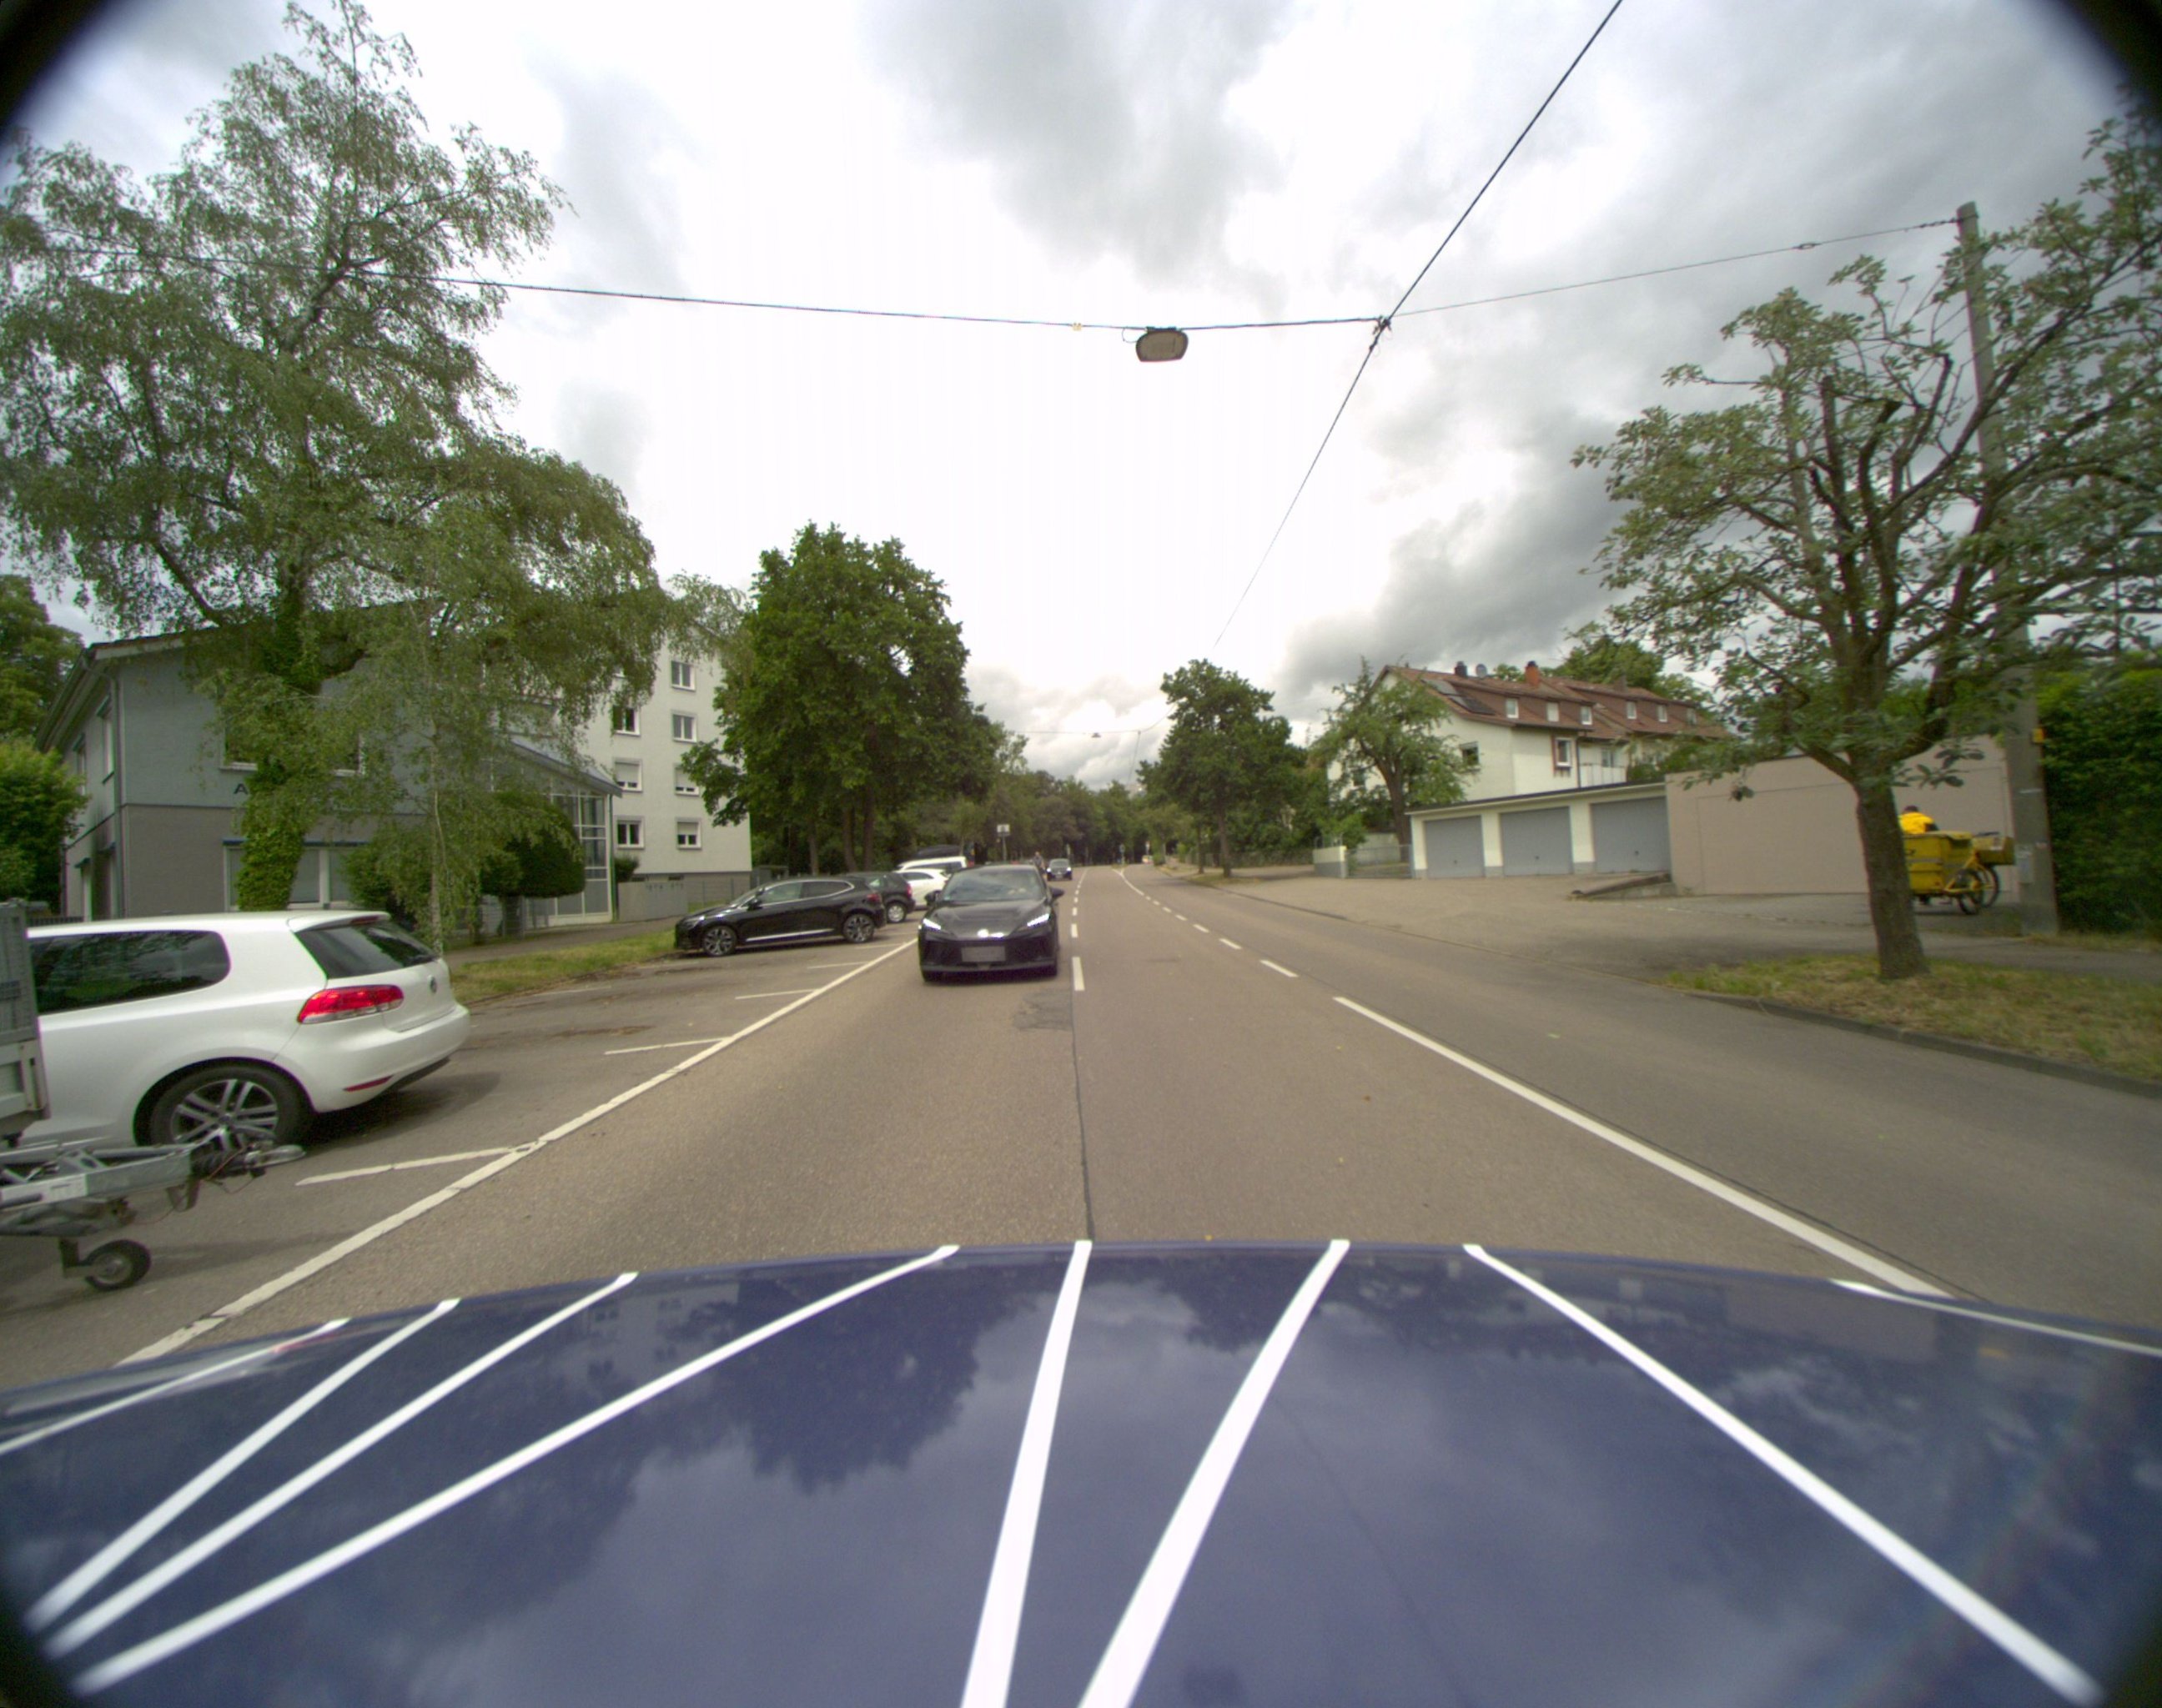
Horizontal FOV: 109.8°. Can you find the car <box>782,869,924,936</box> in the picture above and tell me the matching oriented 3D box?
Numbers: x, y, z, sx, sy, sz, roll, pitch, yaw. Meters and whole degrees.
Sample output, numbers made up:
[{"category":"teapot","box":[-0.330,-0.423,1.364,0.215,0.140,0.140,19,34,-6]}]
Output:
[{"category":"car","box":[-6.234,1.275,20.815,3.516,1.455,1.713,-4,1,-20]}]

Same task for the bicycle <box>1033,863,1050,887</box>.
[{"category":"bicycle","box":[-2.093,1.108,40.285,0.648,1.230,1.875,-3,0,-10]}]

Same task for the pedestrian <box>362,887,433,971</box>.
[{"category":"pedestrian","box":[-13.053,1.407,14.528,0.694,1.495,0.777,-3,0,-19]}]

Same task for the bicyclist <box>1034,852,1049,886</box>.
[{"category":"bicyclist","box":[-2.103,0.806,40.299,0.648,1.768,0.627,-2,1,-11]}]

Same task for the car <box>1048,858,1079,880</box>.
[{"category":"car","box":[-1.186,0.984,52.713,1.861,1.366,4.076,-3,0,1]}]

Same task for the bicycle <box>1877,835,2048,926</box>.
[{"category":"bicycle","box":[13.491,0.377,11.620,2.624,1.198,0.846,-3,-1,-22]}]

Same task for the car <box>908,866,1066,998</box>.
[{"category":"car","box":[-1.200,1.002,11.316,1.813,1.484,3.793,-2,0,0]}]

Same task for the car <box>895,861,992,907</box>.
[{"category":"car","box":[-5.861,1.221,32.311,3.859,1.634,1.851,-4,1,-13]}]

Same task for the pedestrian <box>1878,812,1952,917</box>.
[{"category":"pedestrian","box":[13.751,0.174,12.536,0.643,1.665,0.601,-3,1,-21]}]

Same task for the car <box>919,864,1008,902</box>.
[{"category":"car","box":[-5.466,1.322,35.127,3.859,1.426,1.653,-4,1,-13]}]

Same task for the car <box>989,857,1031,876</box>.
[{"category":"car","box":[-6.820,1.206,73.115,3.857,1.553,1.654,-4,1,-7]}]

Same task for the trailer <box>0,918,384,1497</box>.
[{"category":"trailer","box":[-5.176,1.166,2.390,4.002,1.543,1.656,-3,0,-18]}]

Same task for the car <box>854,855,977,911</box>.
[{"category":"car","box":[-6.336,1.073,29.113,4.226,1.748,1.856,-4,1,-24]}]

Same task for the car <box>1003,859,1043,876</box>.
[{"category":"car","box":[-5.858,1.327,76.197,3.857,1.378,1.654,-4,1,-7]}]

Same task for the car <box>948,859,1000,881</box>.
[{"category":"car","box":[-8.718,1.291,61.737,3.860,1.549,1.652,-4,1,-19]}]

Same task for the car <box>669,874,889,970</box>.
[{"category":"car","box":[-6.066,1.294,15.469,3.860,1.426,1.712,-4,3,-24]}]

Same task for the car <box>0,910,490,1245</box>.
[{"category":"car","box":[-6.264,1.277,4.438,4.003,1.455,1.788,-4,1,-20]}]

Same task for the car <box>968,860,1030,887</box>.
[{"category":"car","box":[-5.662,1.332,52.534,3.860,1.603,1.652,-4,1,-19]}]

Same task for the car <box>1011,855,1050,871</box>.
[{"category":"car","box":[-5.171,0.890,78.141,3.857,1.378,1.654,-4,1,-7]}]

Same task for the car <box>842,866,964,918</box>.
[{"category":"car","box":[-6.071,1.266,26.091,3.859,1.430,1.714,-4,1,-13]}]
